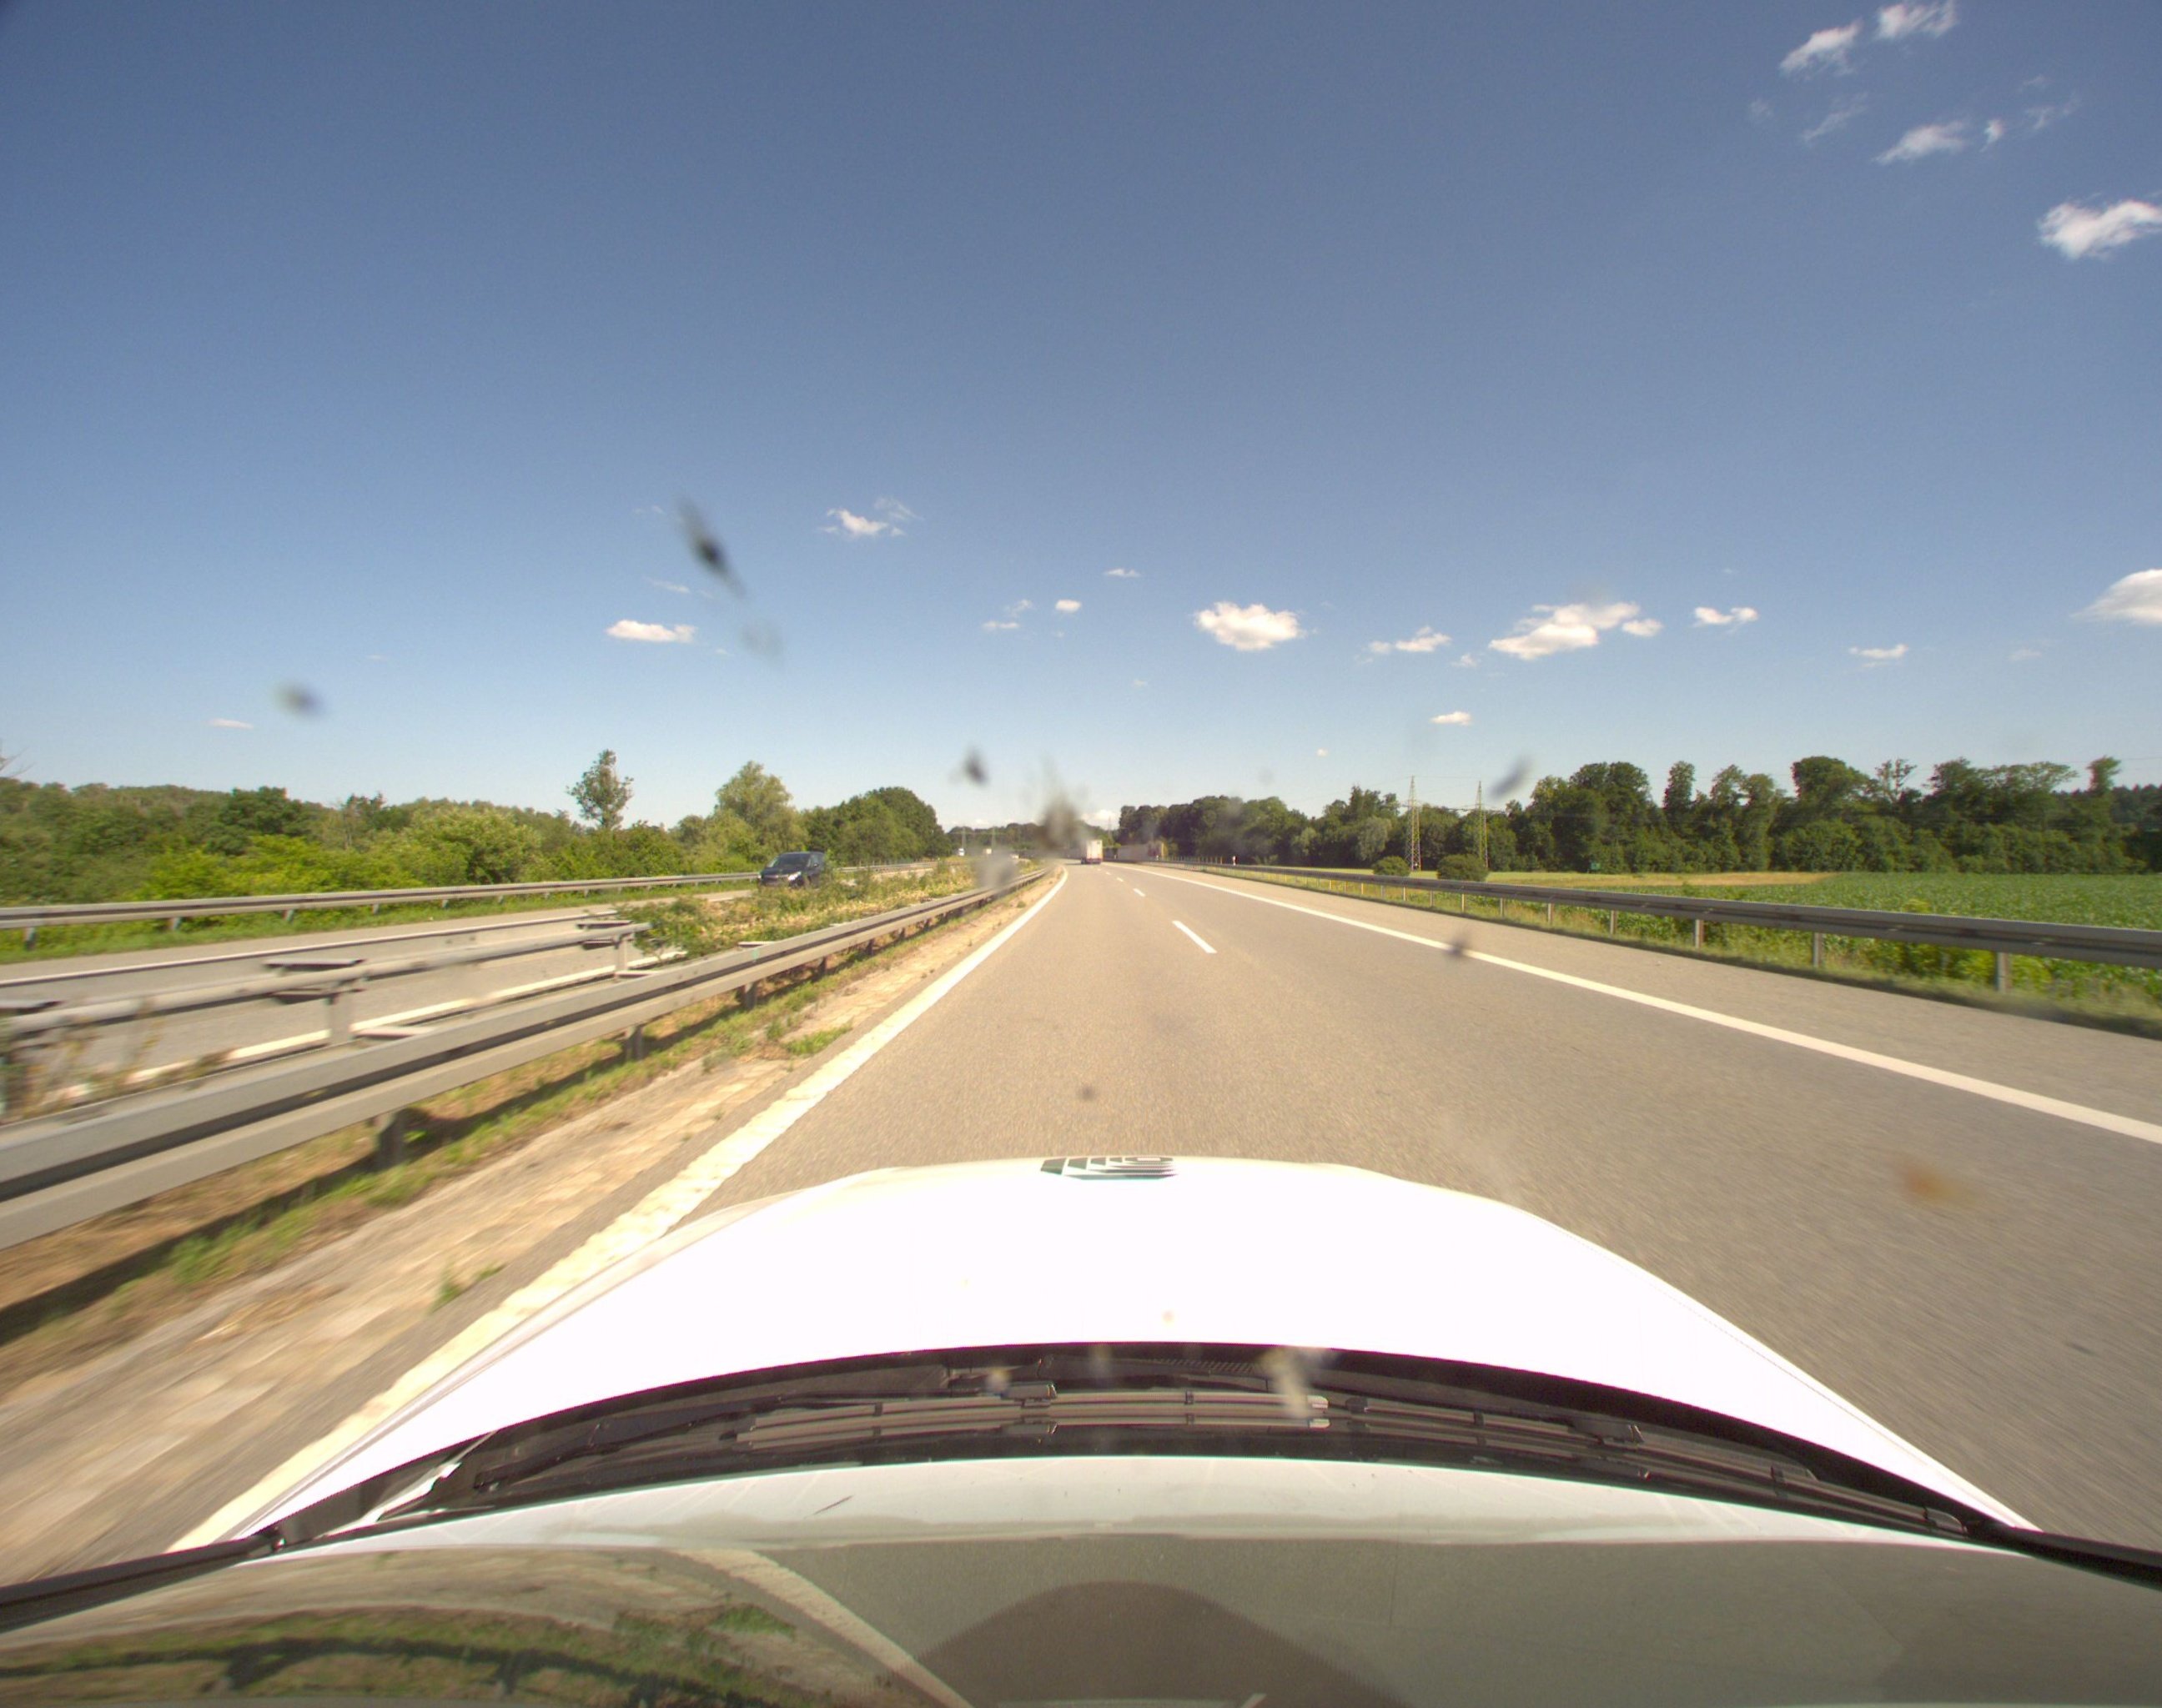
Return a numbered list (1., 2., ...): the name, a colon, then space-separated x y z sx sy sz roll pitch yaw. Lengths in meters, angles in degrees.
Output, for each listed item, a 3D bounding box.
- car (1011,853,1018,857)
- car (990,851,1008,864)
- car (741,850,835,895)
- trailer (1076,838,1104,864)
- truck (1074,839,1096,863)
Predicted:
1. car: -19.791 0.291 240.932 1.820 1.434 4.636 0 0 -9
2. car: -11.490 0.514 114.754 1.988 1.679 5.314 -2 0 -1
3. car: -11.181 0.656 31.445 1.987 1.554 4.419 -2 0 0
4. trailer: 1.465 -0.532 136.179 2.882 4.066 12.386 -1 0 -8
5. truck: 0.580 -0.515 142.384 2.829 4.012 6.567 -1 0 -8
